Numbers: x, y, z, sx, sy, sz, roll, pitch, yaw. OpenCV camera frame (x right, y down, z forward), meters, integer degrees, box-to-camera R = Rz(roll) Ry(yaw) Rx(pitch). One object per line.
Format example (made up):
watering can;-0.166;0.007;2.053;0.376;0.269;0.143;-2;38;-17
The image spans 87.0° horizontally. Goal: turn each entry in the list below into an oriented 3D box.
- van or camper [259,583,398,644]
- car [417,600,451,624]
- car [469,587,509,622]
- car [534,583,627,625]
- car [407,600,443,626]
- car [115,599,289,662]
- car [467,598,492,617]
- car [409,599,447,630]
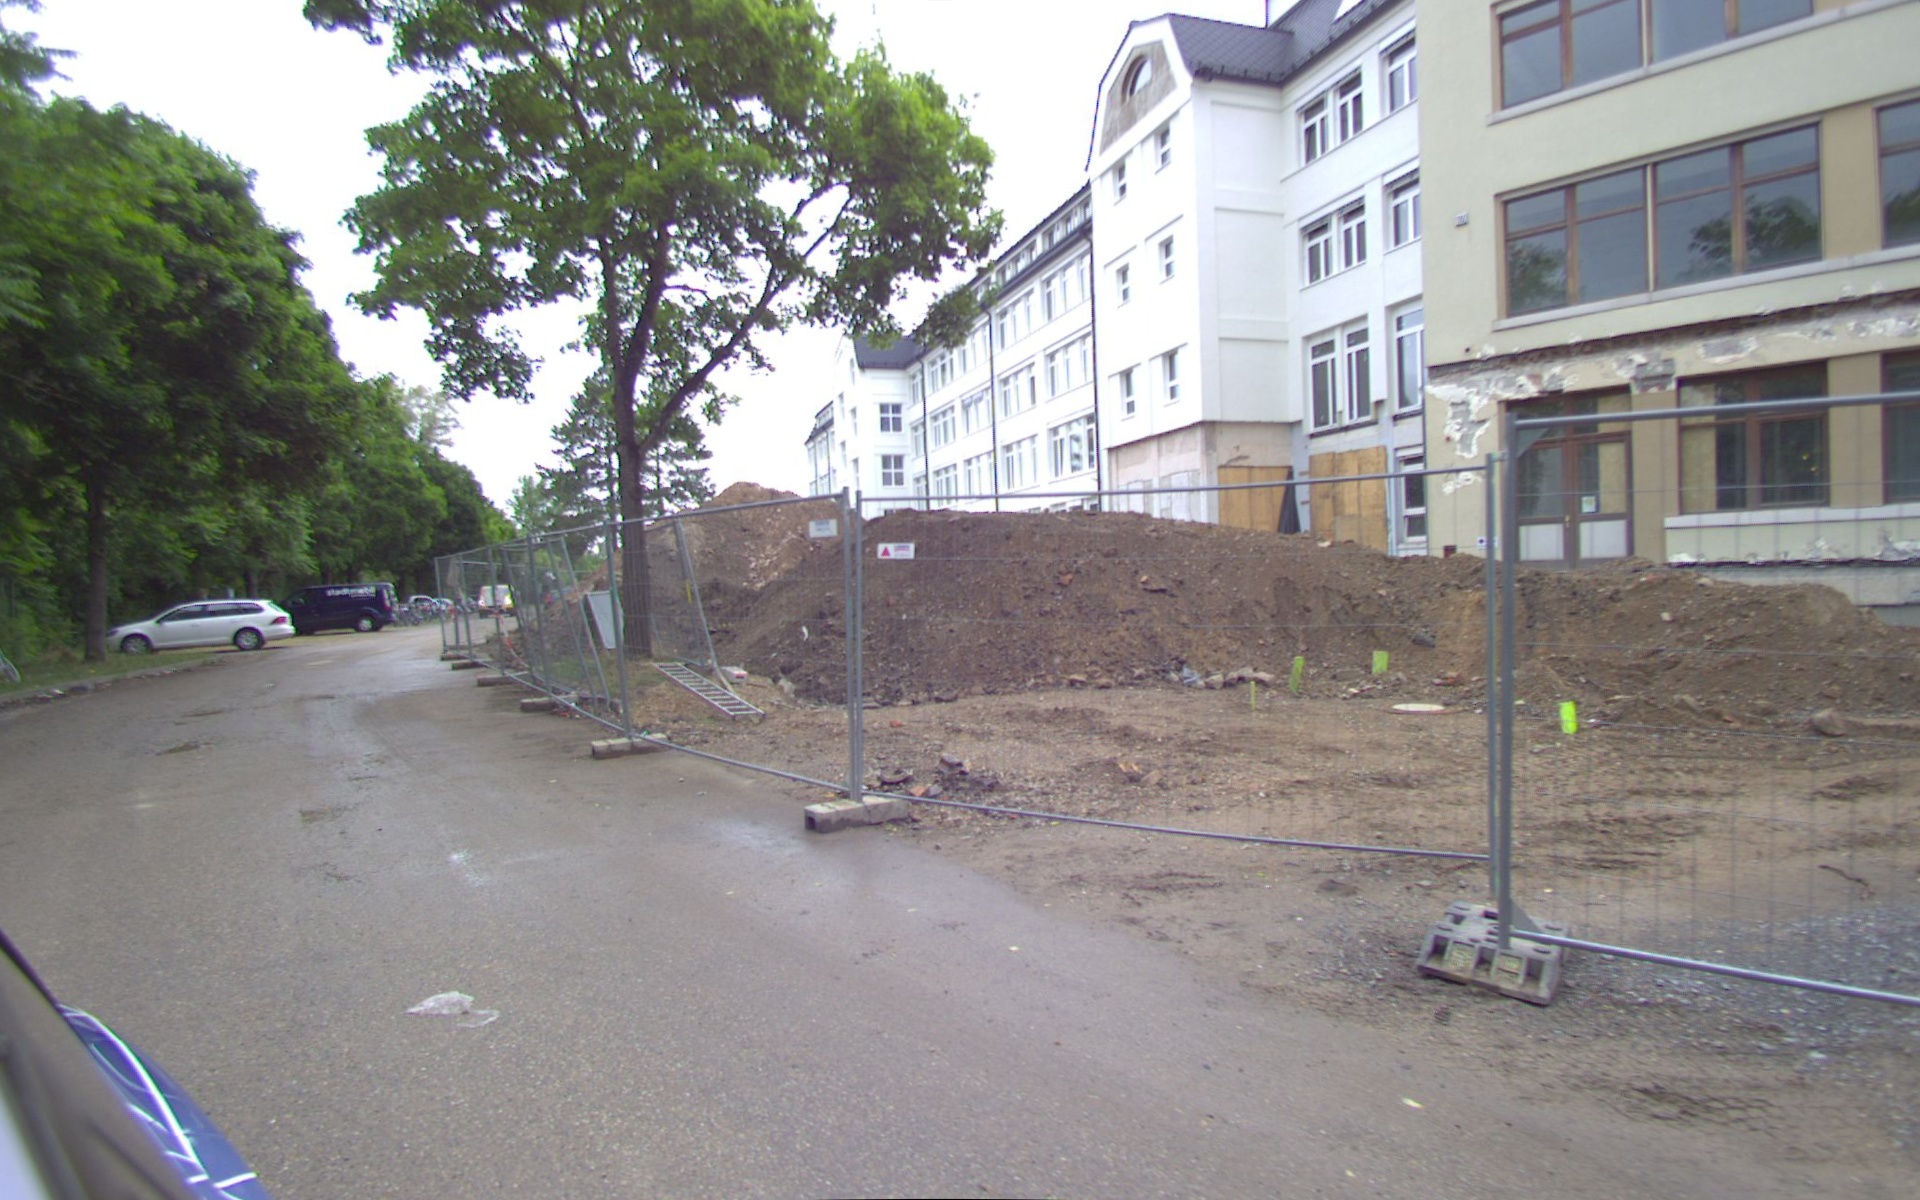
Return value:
van or camper;-25.711;0.511;41.411;4.424;2.275;2.006;-2;1;-19
car;-38.425;0.843;74.031;1.965;1.608;4.013;-2;1;-25
car;-29.337;0.297;62.981;2.089;2.029;4.013;-2;1;-26
car;-18.415;0.167;49.279;3.934;1.851;2.005;-2;1;-12
car;-35.309;0.851;66.833;1.966;1.608;4.013;-2;1;-27
car;-21.753;0.827;29.239;3.821;1.586;1.757;-2;1;-31
car;-44.082;0.696;92.934;1.965;1.608;4.013;-2;1;-25
car;-30.174;0.781;57.384;1.790;1.608;4.013;-2;1;-29
